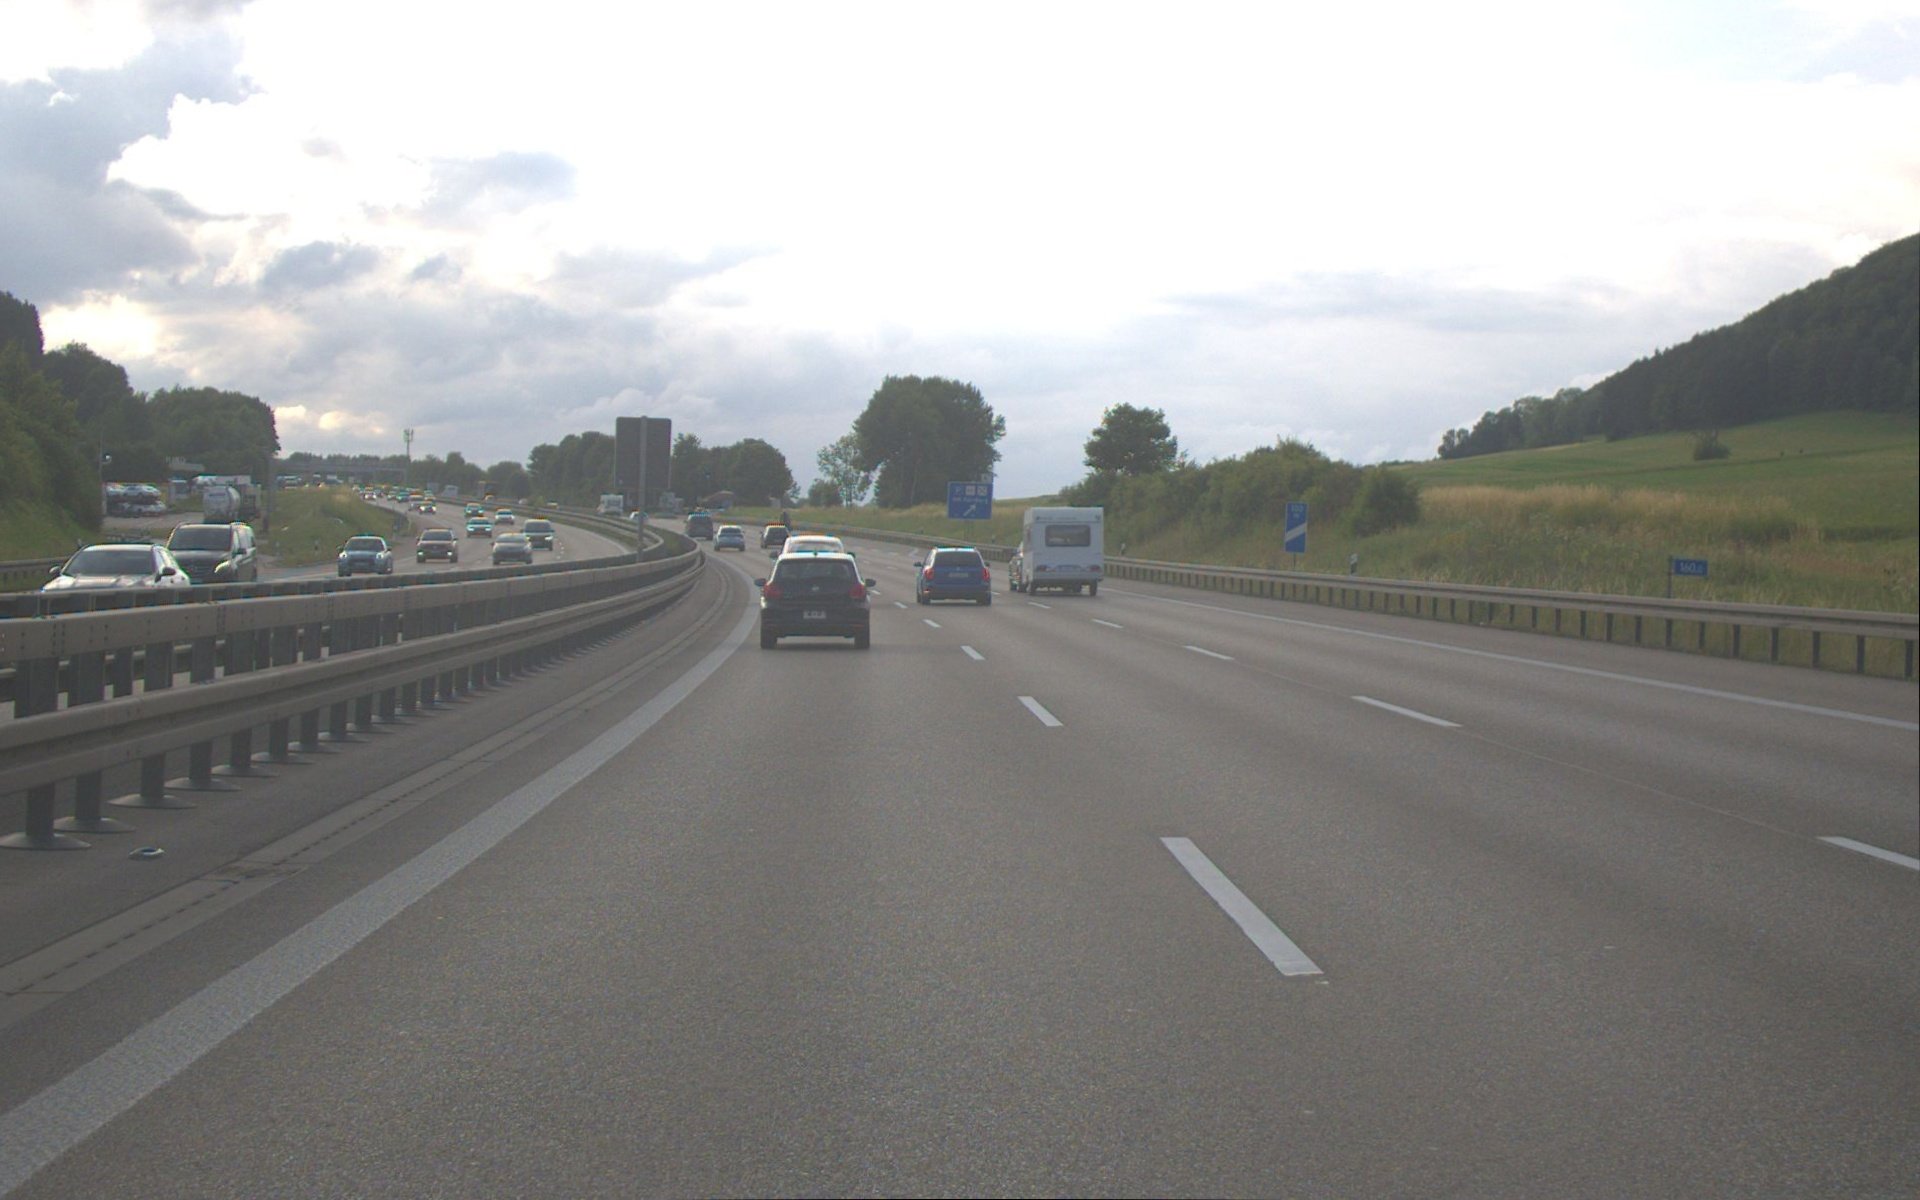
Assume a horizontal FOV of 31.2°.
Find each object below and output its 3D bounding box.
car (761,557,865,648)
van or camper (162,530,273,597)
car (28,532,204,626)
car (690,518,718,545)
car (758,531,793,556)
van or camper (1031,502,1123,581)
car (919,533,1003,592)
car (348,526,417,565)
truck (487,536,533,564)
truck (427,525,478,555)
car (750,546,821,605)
[{"bbox_3d":[-2.251,0.013,52.837,1.538,1.343,3.677,0,1,-2],"label":"car"},{"bbox_3d":[-18.997,-0.955,88.182,1.993,1.654,5.455,0,1,-4],"label":"van or camper"},{"bbox_3d":[-13.646,-0.346,55.862,1.993,1.425,4.588,1,0,-4],"label":"car"},{"bbox_3d":[-18.916,-5.053,254.002,1.993,2.007,4.001,0,1,-6],"label":"car"},{"bbox_3d":[-11.991,-3.690,223.754,1.957,1.568,4.000,1,0,2],"label":"car"},{"bbox_3d":[3.370,-1.678,99.761,2.548,2.232,5.329,0,1,1],"label":"van or camper"},{"bbox_3d":[0.002,-0.956,86.871,1.766,1.428,4.001,1,1,-5],"label":"car"},{"bbox_3d":[-20.878,-1.991,124.400,1.993,1.349,4.356,-1,1,-3],"label":"car"},{"bbox_3d":[-20.375,-2.267,155.741,1.993,1.218,4.001,-1,1,-7],"label":"truck"},{"bbox_3d":[-23.760,-2.834,161.028,1.993,1.349,3.947,-1,1,-3],"label":"truck"},{"bbox_3d":[-4.143,-0.594,82.137,1.565,1.376,4.000,0,1,-1],"label":"car"}]
